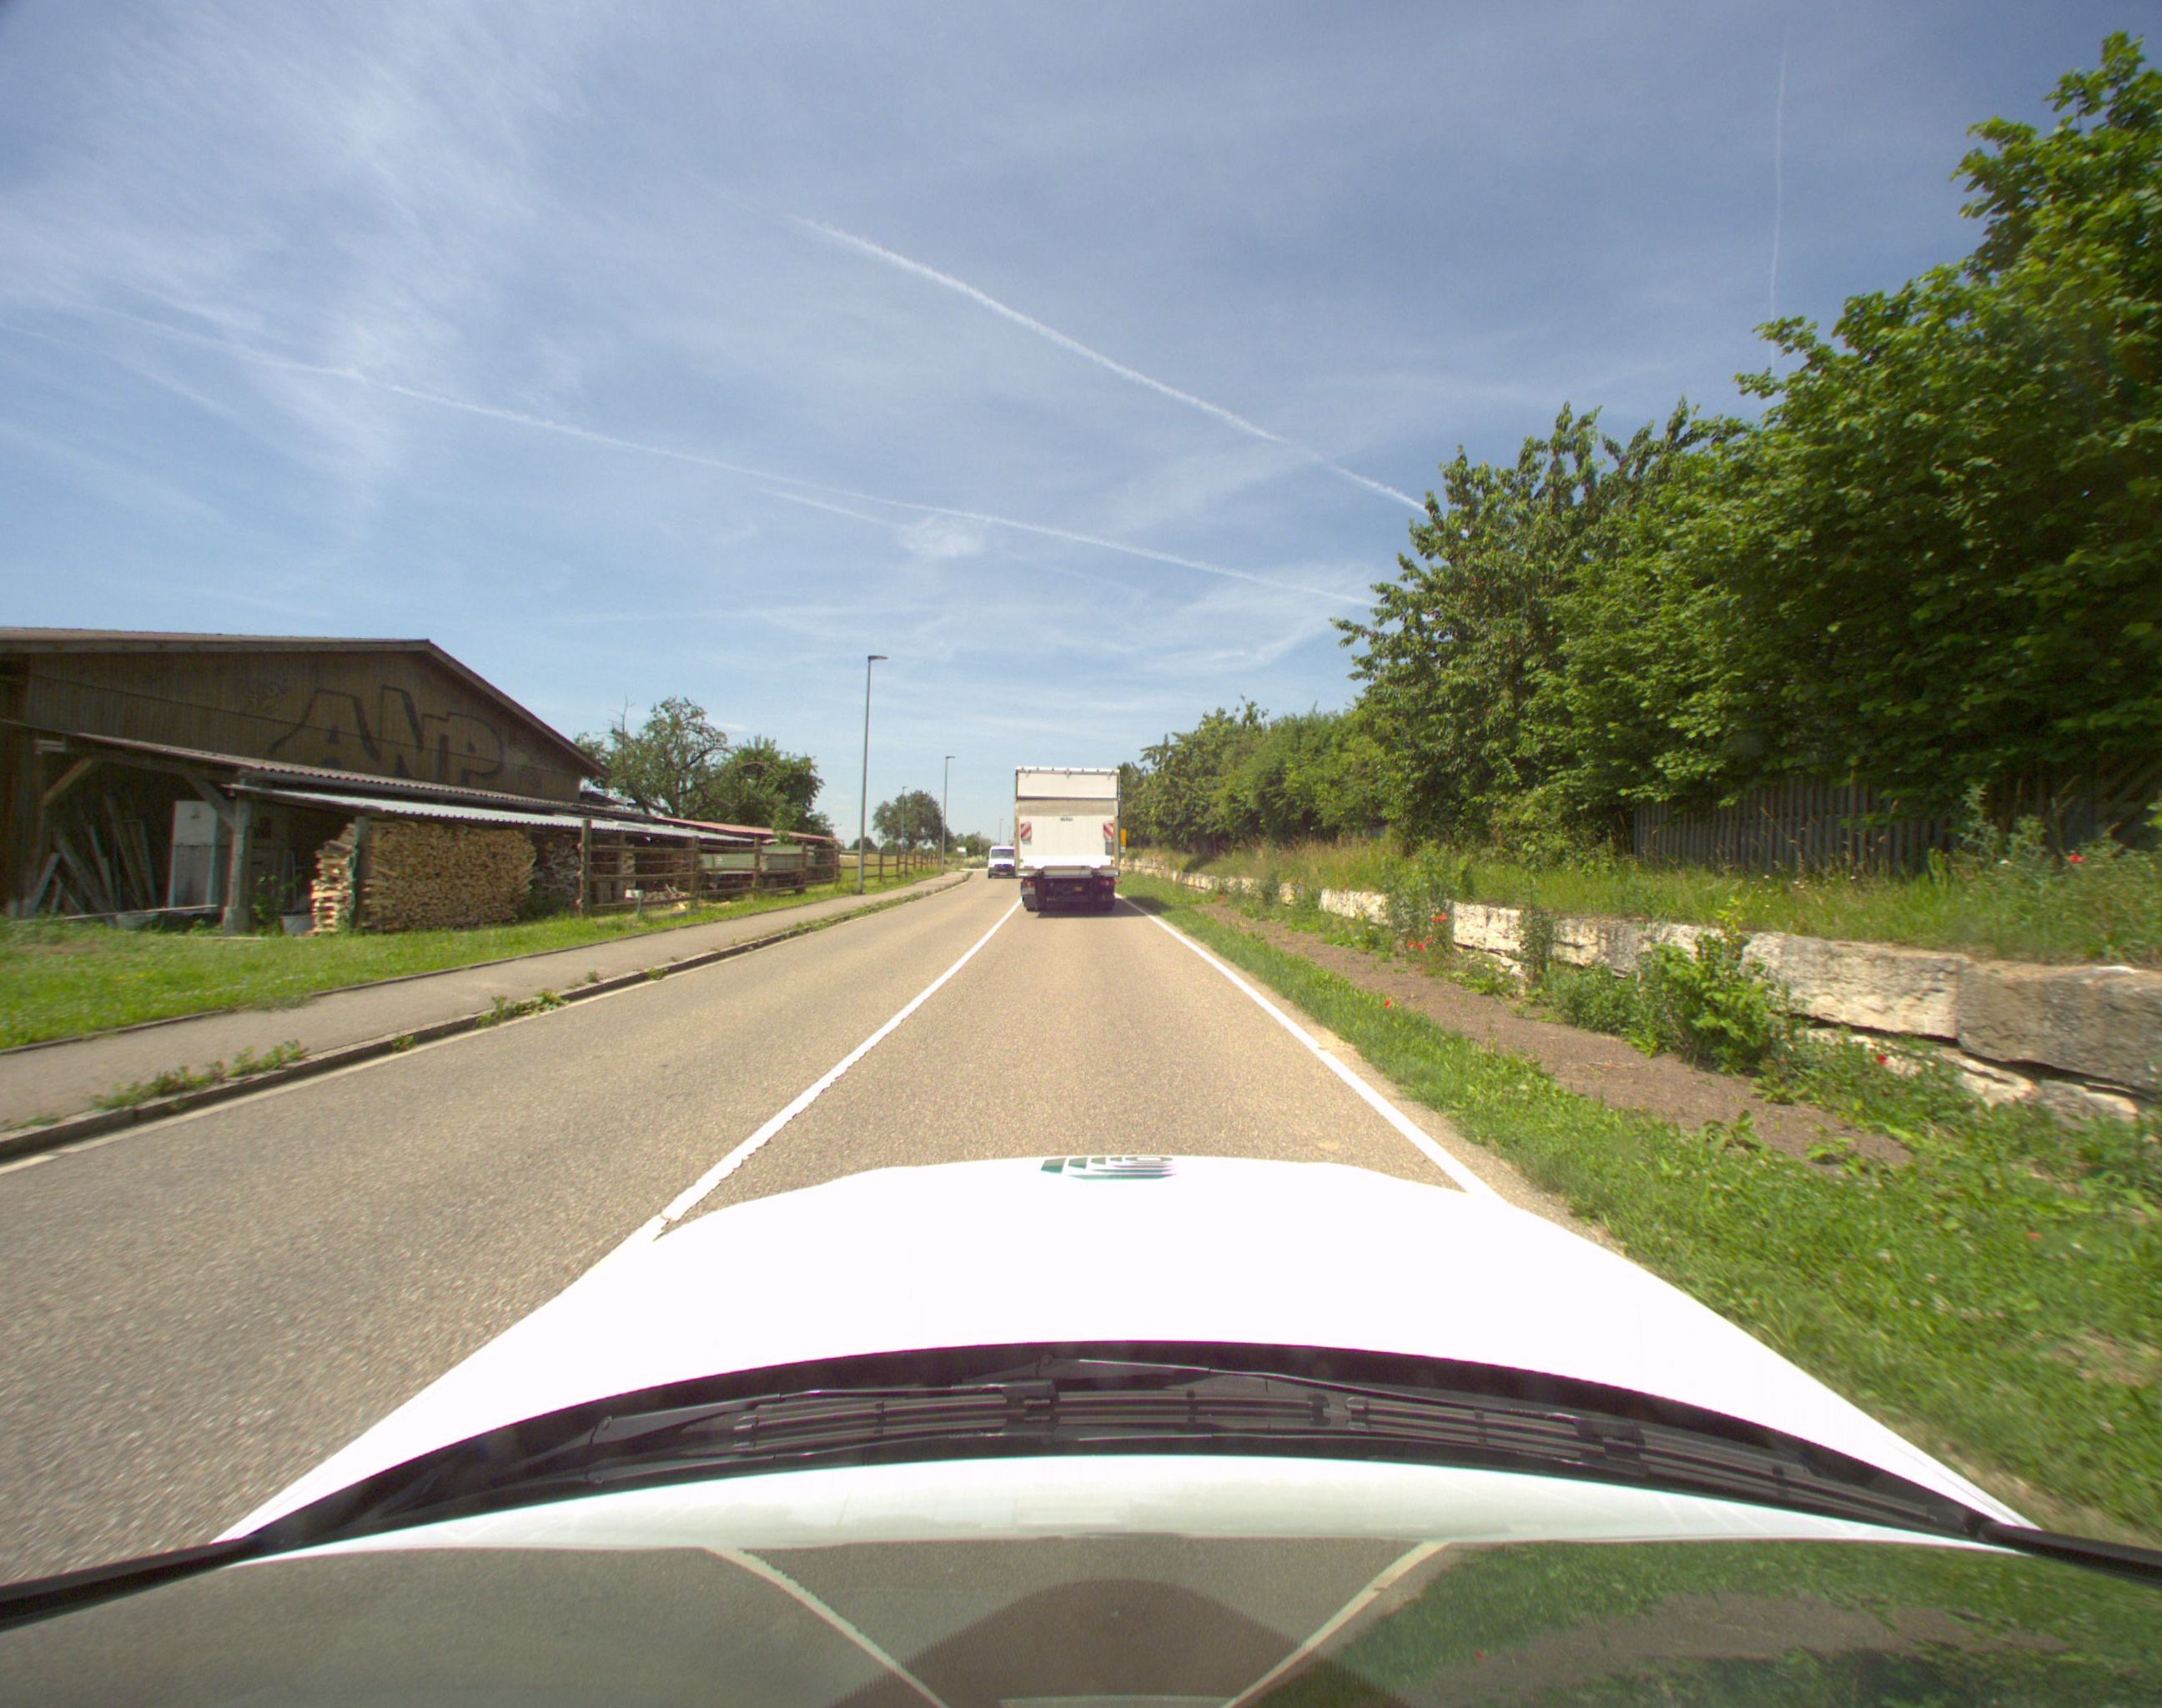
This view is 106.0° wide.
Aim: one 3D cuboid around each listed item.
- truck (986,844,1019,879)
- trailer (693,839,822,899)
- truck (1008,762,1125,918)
[{"bbox_3d":[-5.556,0.525,57.801,2.219,2.293,6.478,0,0,-6],"label":"truck"},{"bbox_3d":[-9.949,0.429,25.533,2.149,1.703,5.025,0,0,-2],"label":"trailer"},{"bbox_3d":[-0.286,-0.315,24.017,2.757,3.671,9.382,0,0,1],"label":"truck"}]
